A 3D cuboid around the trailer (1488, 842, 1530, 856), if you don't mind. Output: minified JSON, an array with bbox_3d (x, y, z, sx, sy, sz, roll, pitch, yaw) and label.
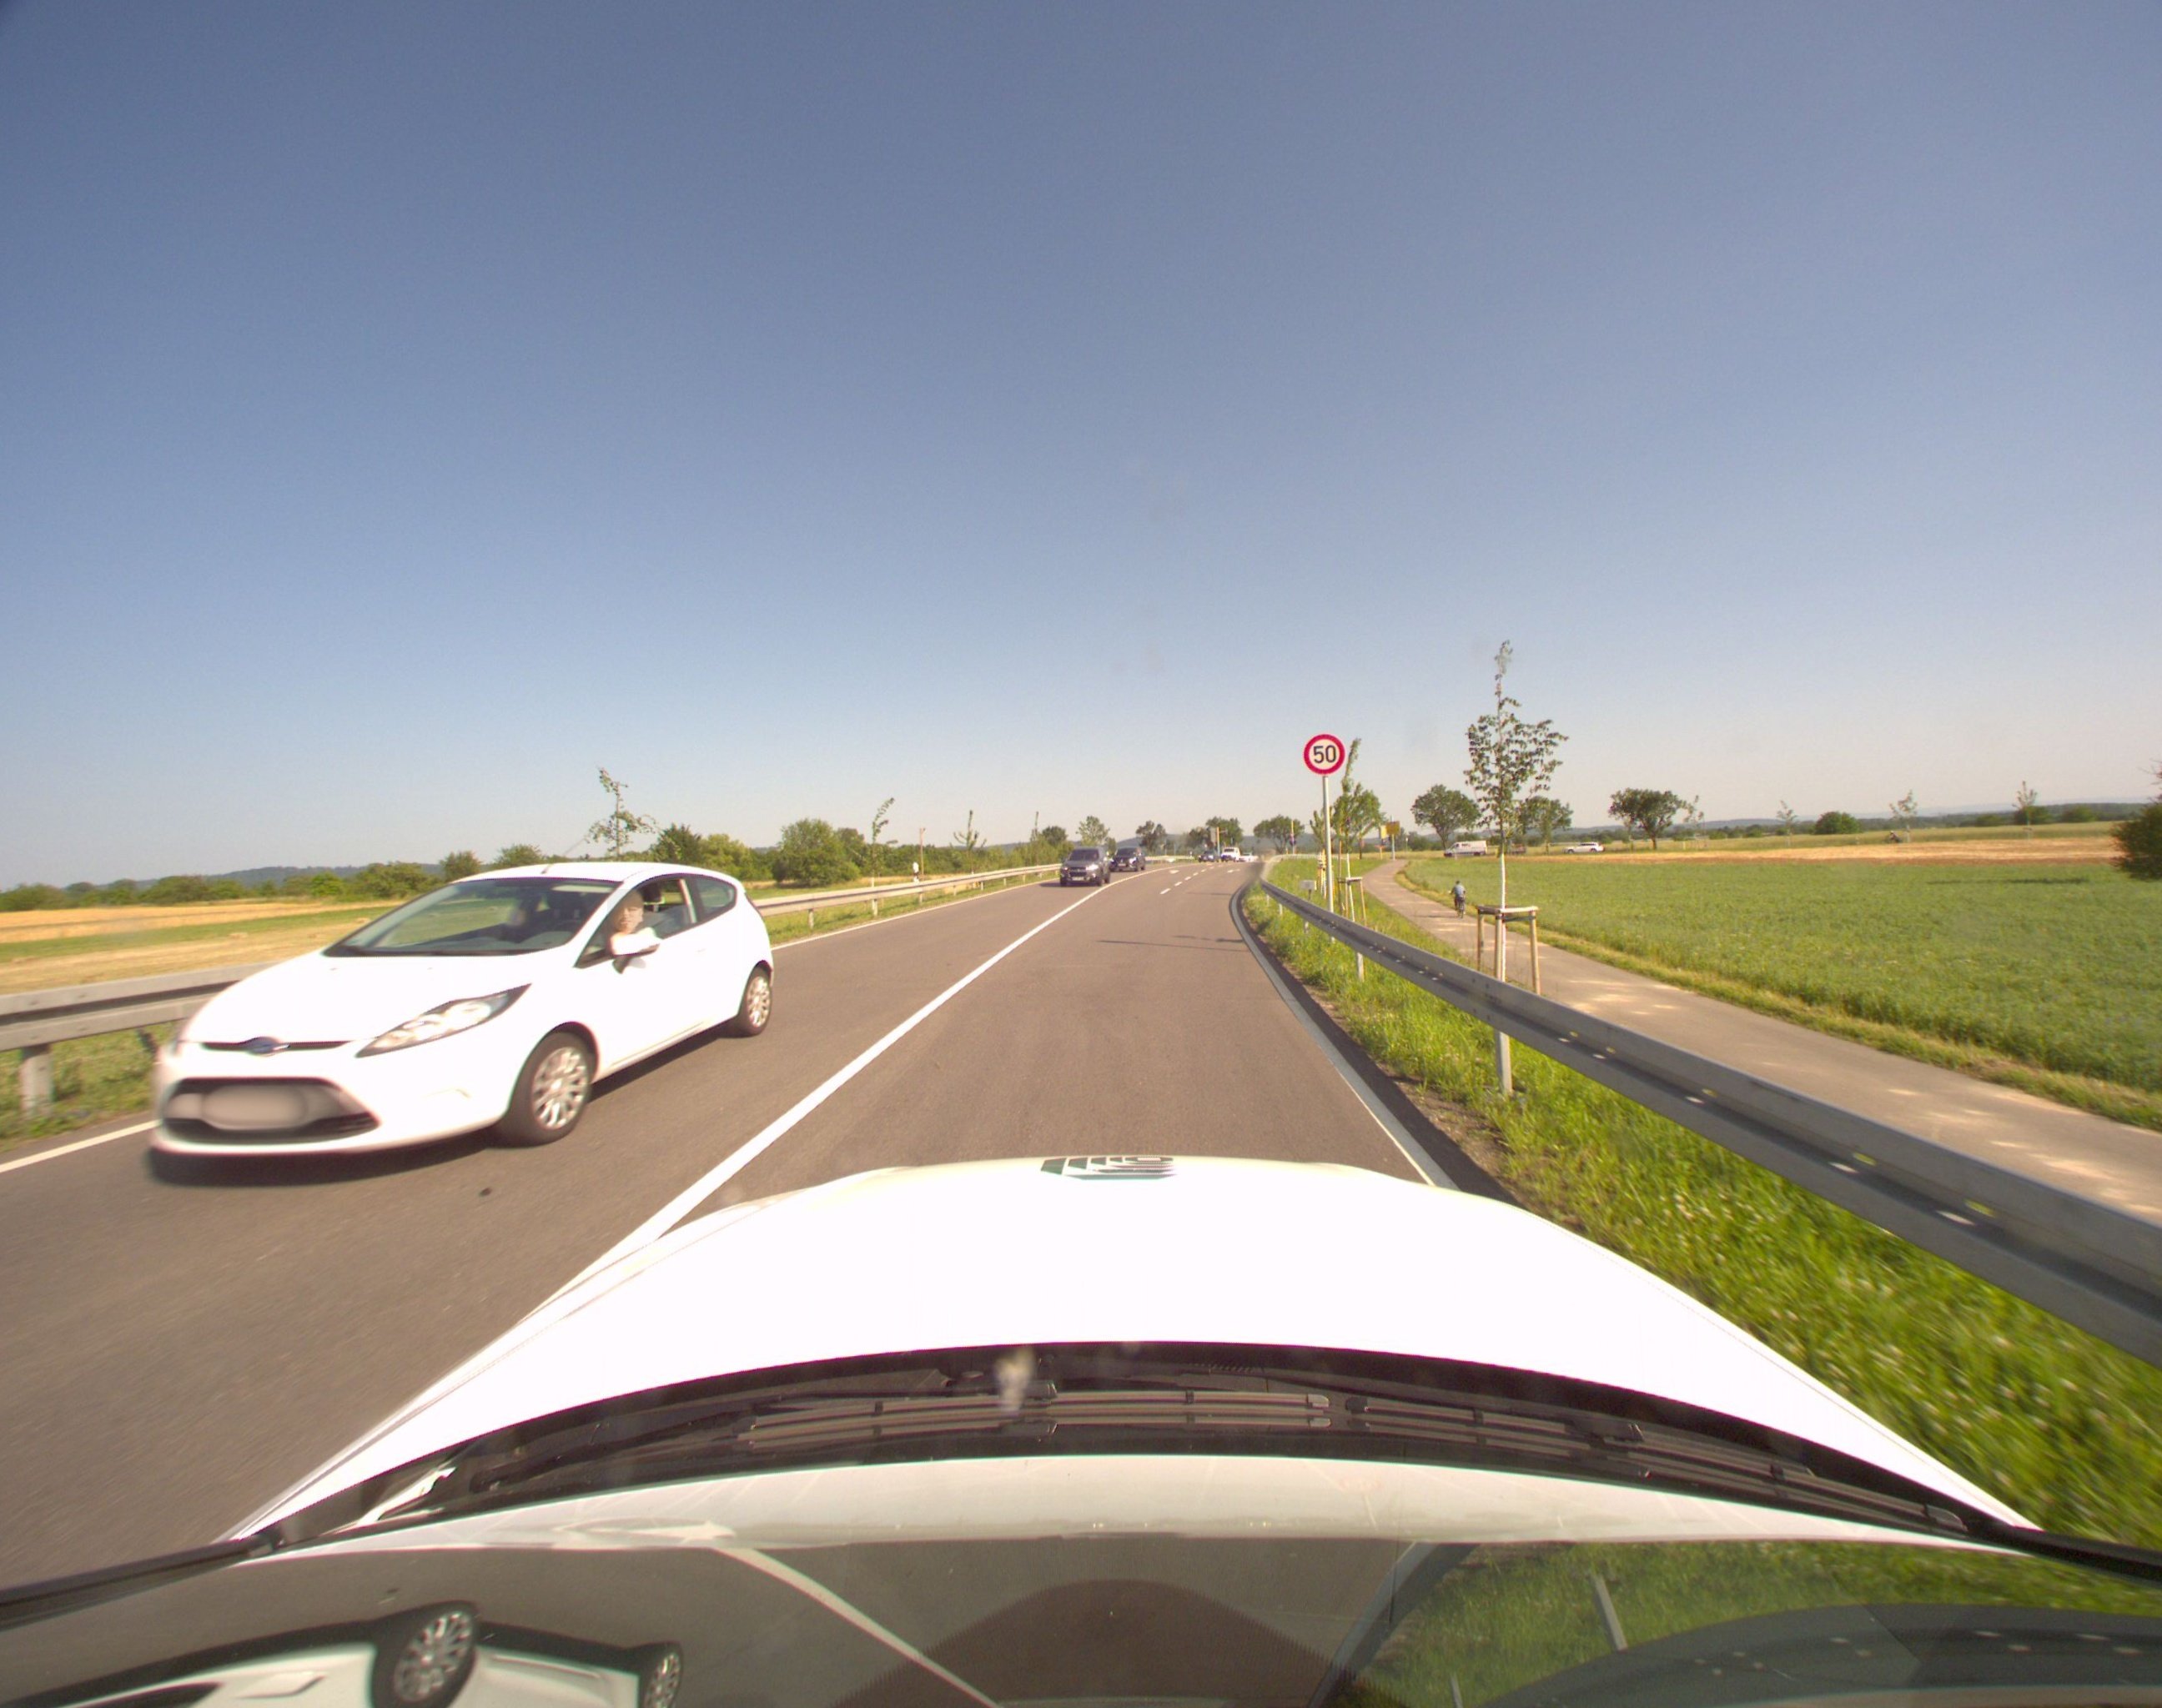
[{"bbox_3d":[61.153,-0.685,116.390,5.210,1.753,1.966,-3,-2,31],"label":"trailer"}]

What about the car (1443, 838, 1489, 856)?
[{"bbox_3d":[56.332,-0.967,119.254,5.900,2.493,2.012,-1,-1,31],"label":"car"}]

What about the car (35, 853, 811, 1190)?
[{"bbox_3d":[-3.533,0.743,5.595,1.846,1.449,4.155,0,-1,2],"label":"car"}]

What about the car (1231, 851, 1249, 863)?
[{"bbox_3d":[23.443,0.459,120.095,2.098,1.492,5.176,0,2,16],"label":"car"}]

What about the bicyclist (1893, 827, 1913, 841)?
[{"bbox_3d":[91.782,-2.230,90.965,1.267,1.601,1.172,-2,0,28],"label":"bicyclist"}]

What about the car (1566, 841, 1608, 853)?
[{"bbox_3d":[69.510,-0.934,112.012,4.823,1.510,2.012,-1,-1,28],"label":"car"}]

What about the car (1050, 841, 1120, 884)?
[{"bbox_3d":[0.282,0.463,36.830,1.868,1.798,5.112,-1,-2,16],"label":"car"}]

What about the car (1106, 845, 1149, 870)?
[{"bbox_3d":[3.226,0.222,55.651,1.979,1.592,4.882,0,0,15],"label":"car"}]

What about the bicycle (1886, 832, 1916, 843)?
[{"bbox_3d":[91.637,-1.853,91.019,2.135,1.186,0.895,-2,-2,28],"label":"bicycle"}]

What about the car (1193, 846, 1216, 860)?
[{"bbox_3d":[14.486,-0.170,95.501,1.780,1.448,4.729,0,2,19],"label":"car"}]

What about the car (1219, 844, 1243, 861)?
[{"bbox_3d":[20.103,-0.231,109.191,2.096,2.013,5.183,0,2,23],"label":"car"}]
